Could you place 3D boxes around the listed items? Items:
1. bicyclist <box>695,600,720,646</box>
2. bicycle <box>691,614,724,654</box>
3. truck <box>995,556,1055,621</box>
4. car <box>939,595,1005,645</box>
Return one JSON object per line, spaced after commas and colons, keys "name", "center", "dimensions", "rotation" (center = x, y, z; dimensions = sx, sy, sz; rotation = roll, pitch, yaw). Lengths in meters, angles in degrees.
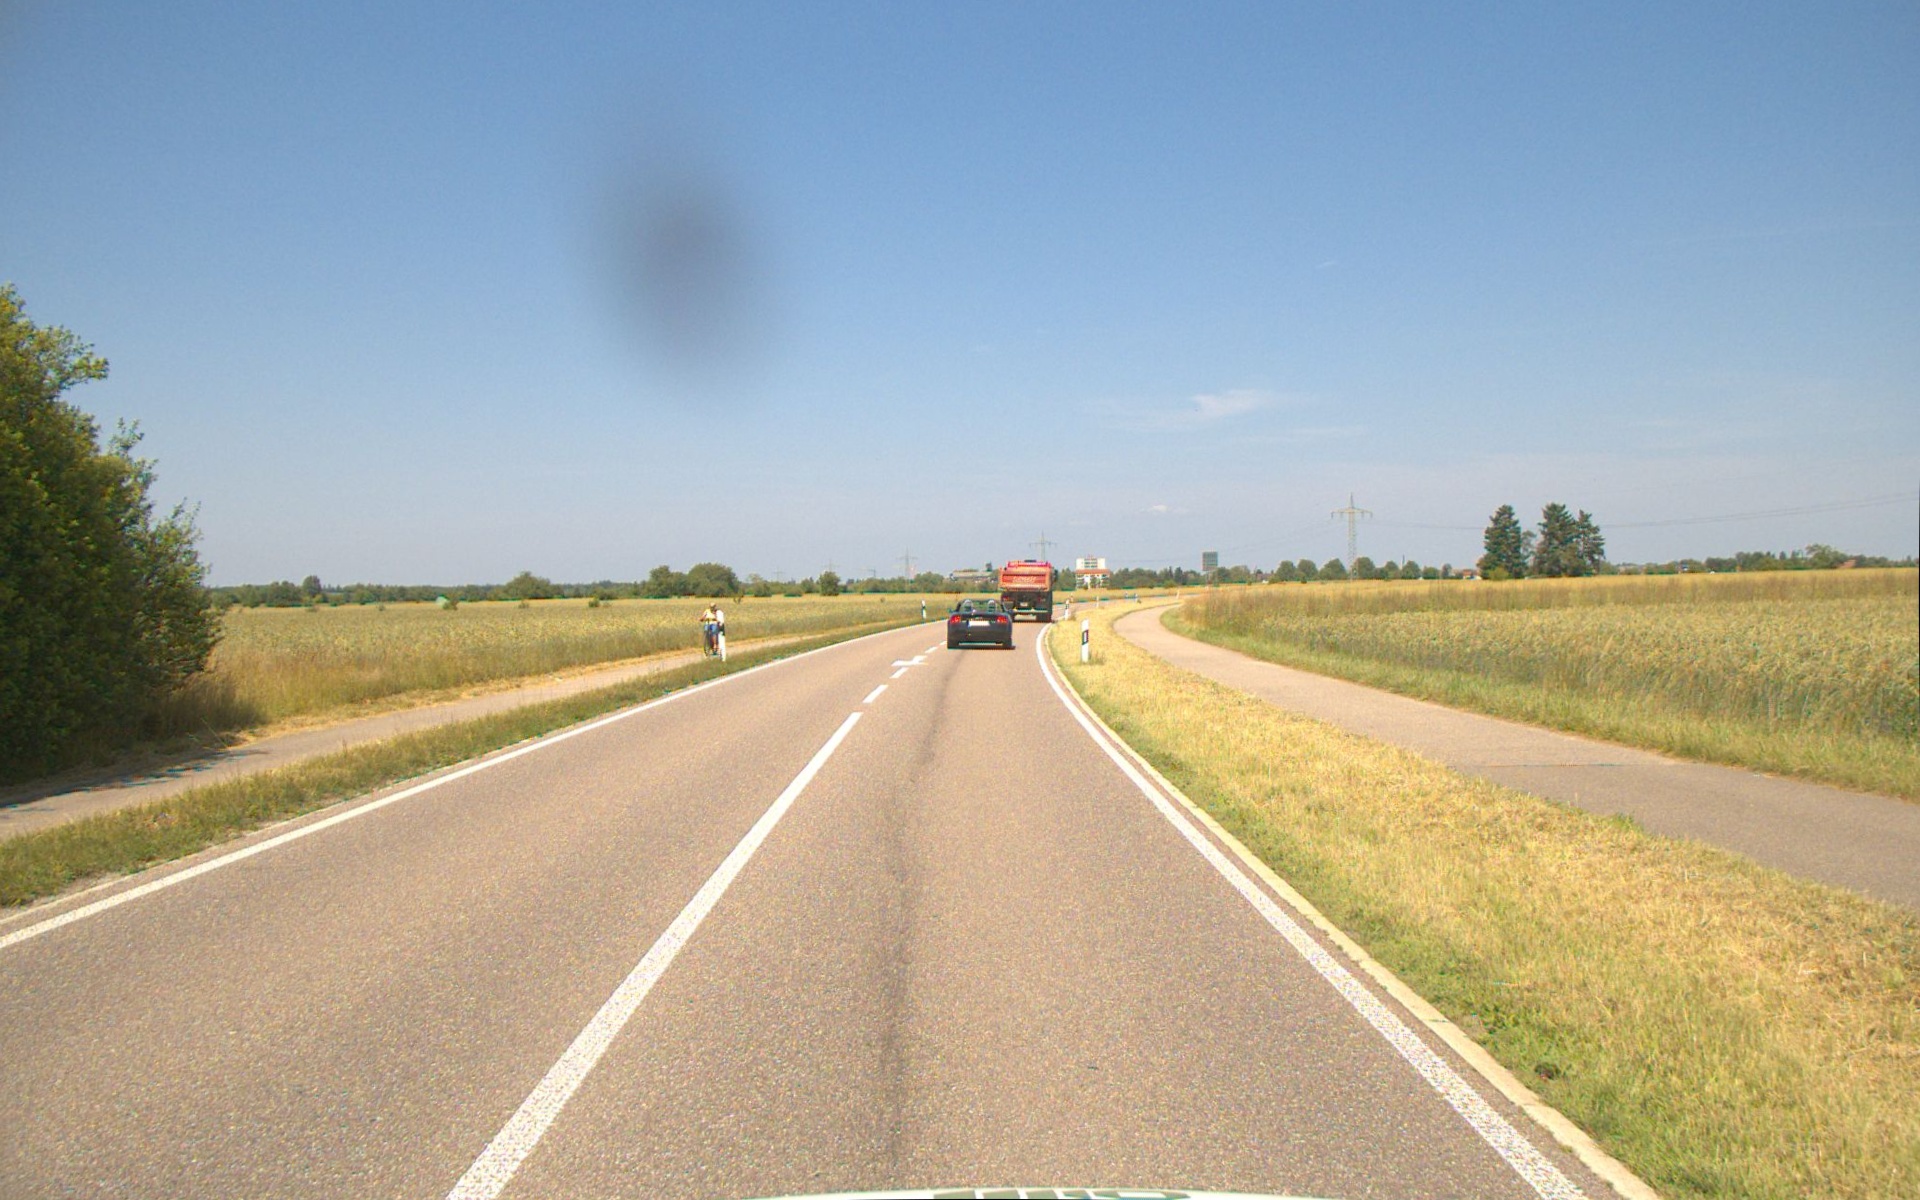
{"name": "bicyclist", "center": [-8.097, 0.742, 53.117], "dimensions": [0.650, 1.463, 0.823], "rotation": [0, 0, 2]}
{"name": "bicycle", "center": [-8.100, 1.068, 53.158], "dimensions": [0.680, 1.197, 1.964], "rotation": [-2, 1, 2]}
{"name": "truck", "center": [3.362, -0.563, 83.924], "dimensions": [2.876, 3.143, 7.199], "rotation": [0, 0, 4]}
{"name": "car", "center": [0.365, 0.514, 44.879], "dimensions": [1.707, 1.302, 4.001], "rotation": [0, 0, 2]}
